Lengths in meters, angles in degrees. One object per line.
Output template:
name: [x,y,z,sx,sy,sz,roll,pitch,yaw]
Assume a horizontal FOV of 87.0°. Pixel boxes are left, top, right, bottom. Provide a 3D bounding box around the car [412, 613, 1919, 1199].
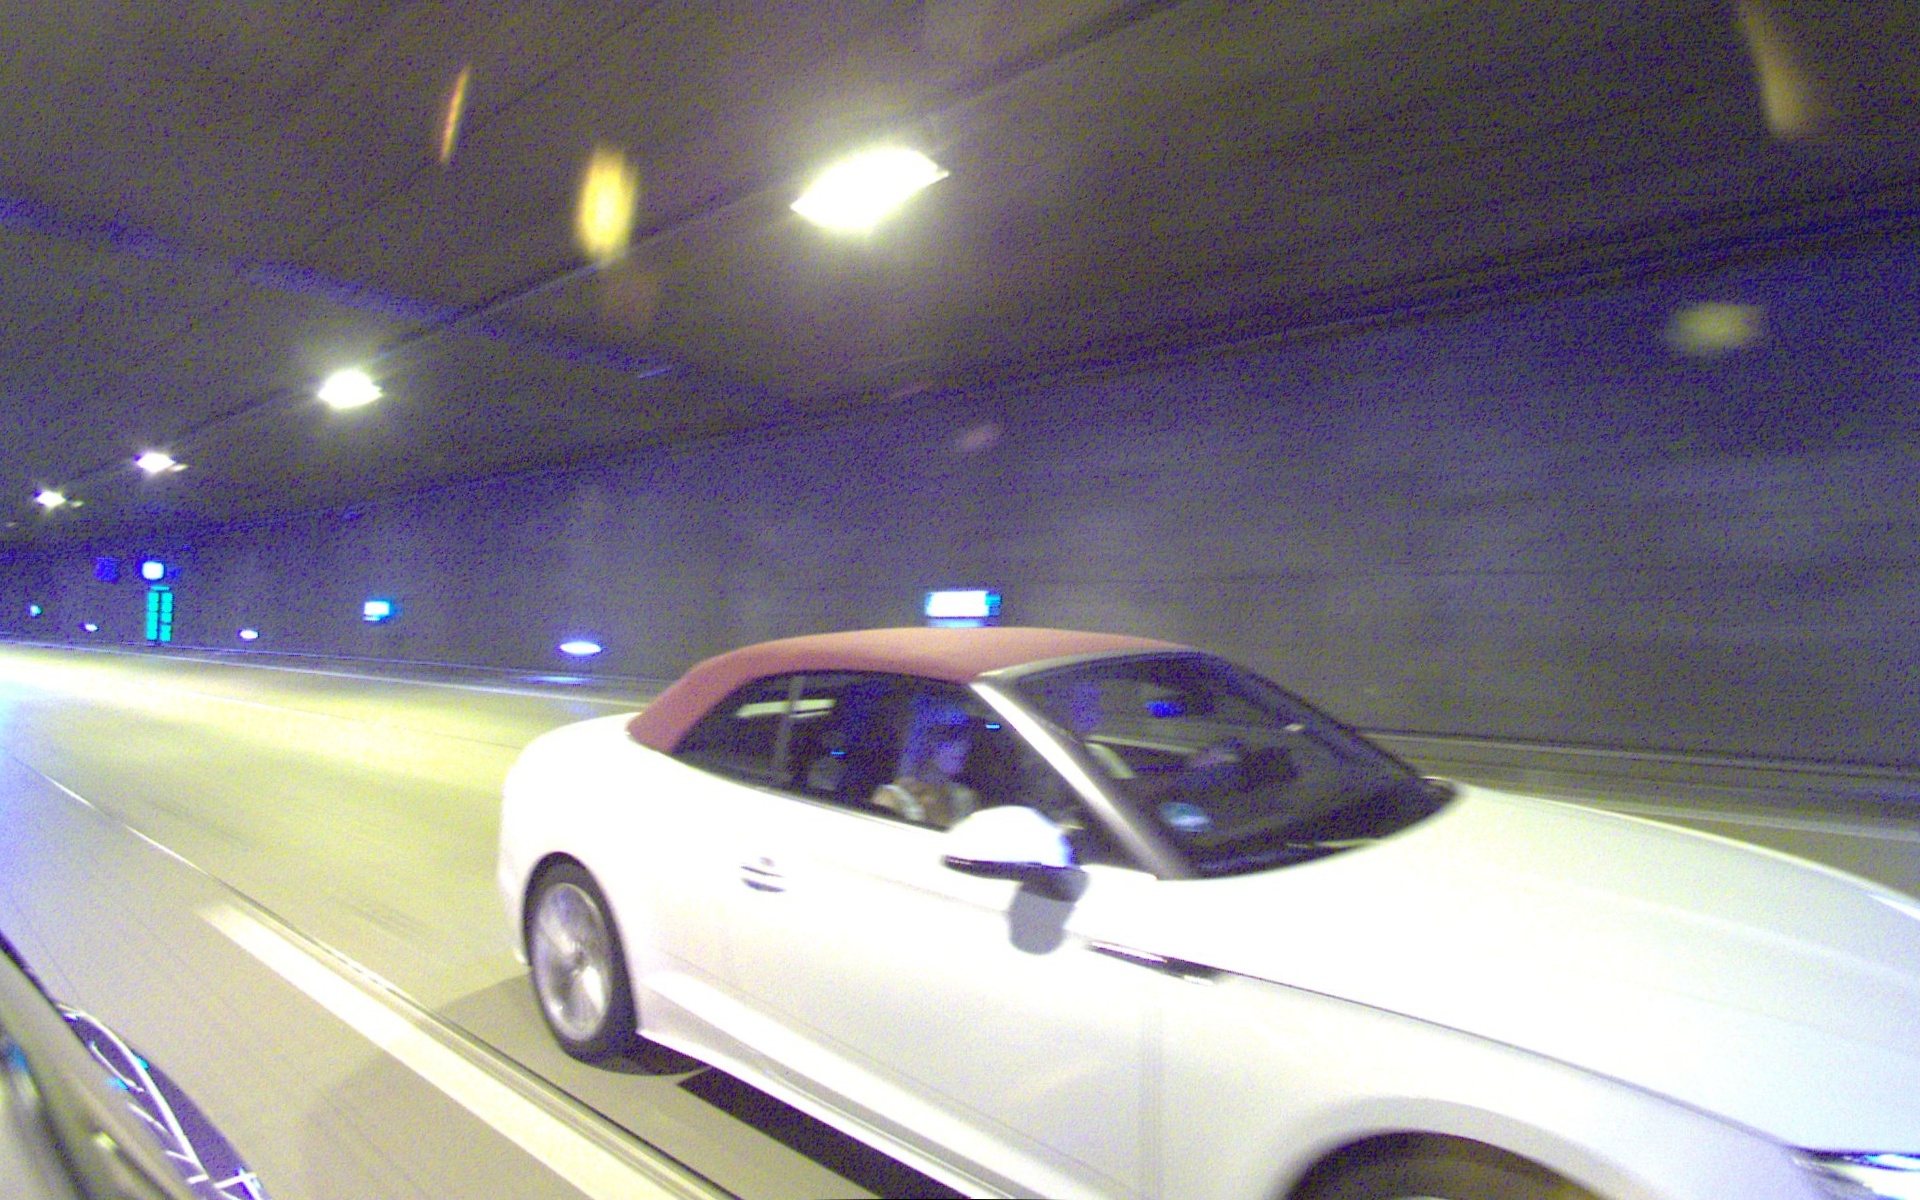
car: [0.343,0.766,2.903,5.057,1.429,1.685,0,-1,41]
